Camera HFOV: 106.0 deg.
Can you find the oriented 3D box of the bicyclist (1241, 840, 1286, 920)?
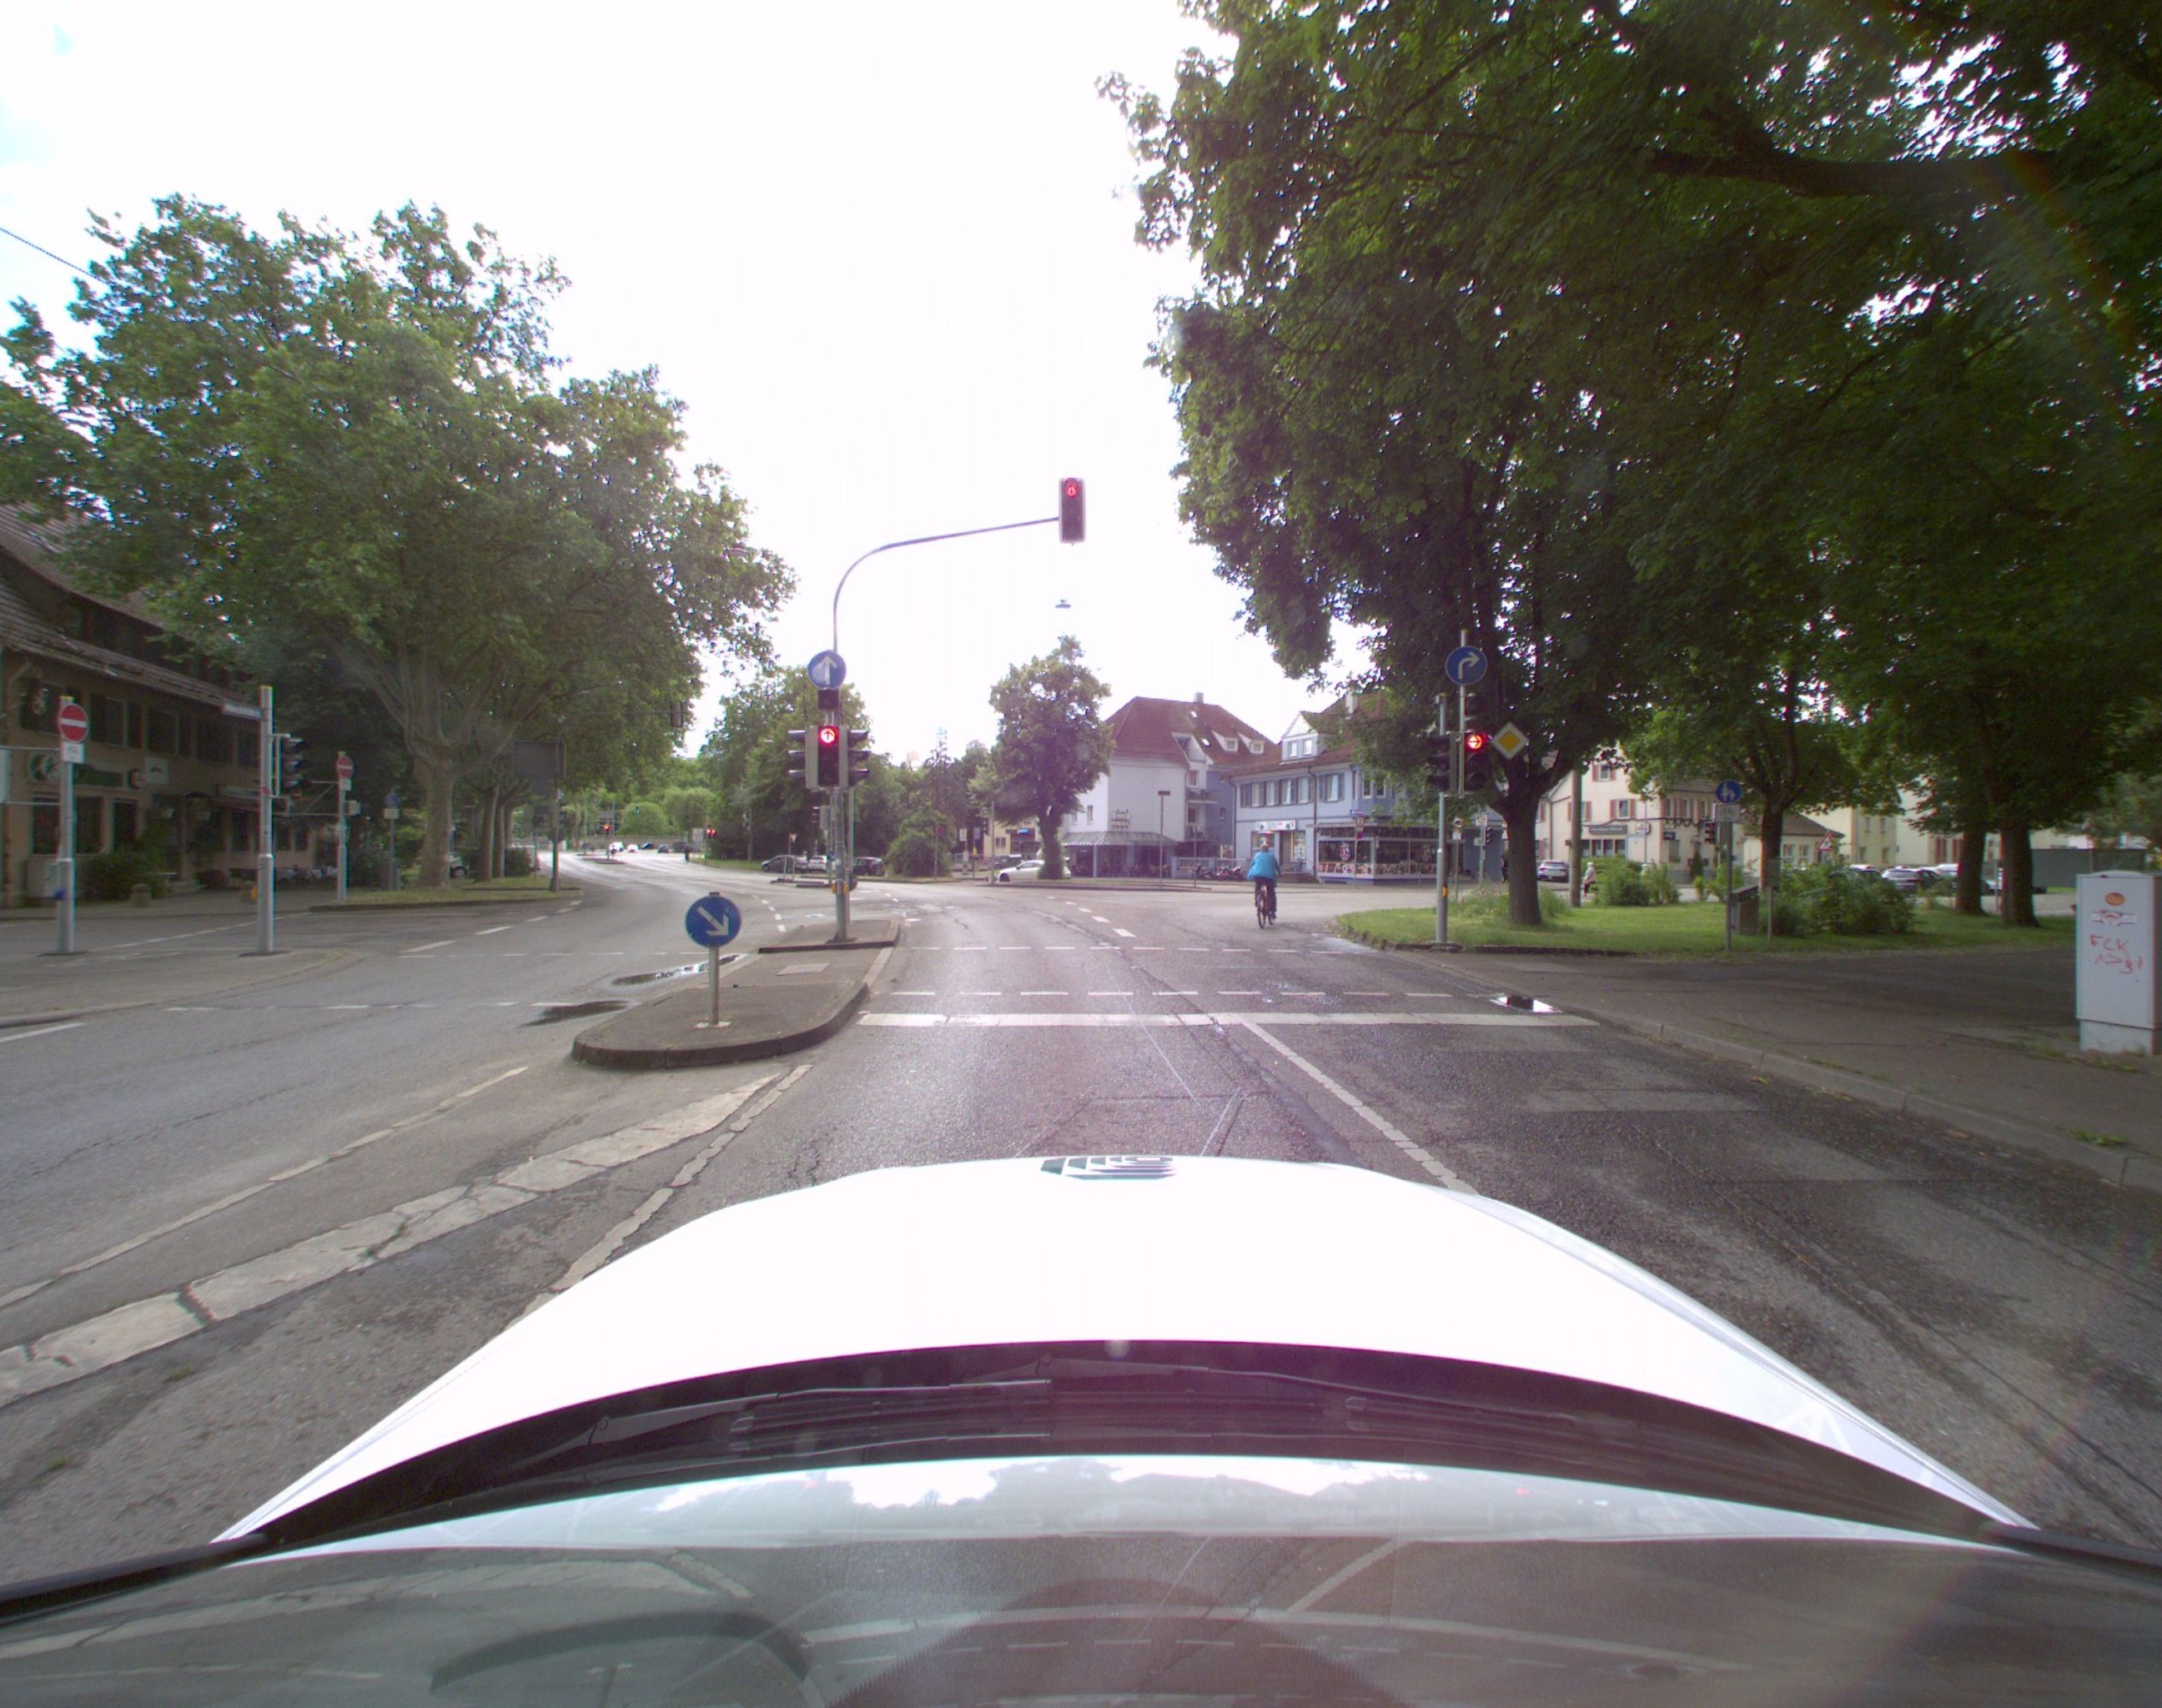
[{"bbox_3d":[3.938,0.538,17.514,0.908,1.651,0.992,0,0,15],"label":"bicyclist"}]

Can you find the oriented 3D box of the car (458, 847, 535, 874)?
[{"bbox_3d":[-37.686,0.431,52.630,4.017,1.684,1.978,0,0,-35],"label":"car"}]

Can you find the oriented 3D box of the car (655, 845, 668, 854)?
[{"bbox_3d":[-79.391,-0.770,154.067,2.007,1.596,3.960,0,-1,-31],"label":"car"}]

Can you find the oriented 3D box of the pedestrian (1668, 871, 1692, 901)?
[{"bbox_3d":[21.840,1.164,29.701,0.505,1.081,0.514,0,-1,-14],"label":"pedestrian"}]

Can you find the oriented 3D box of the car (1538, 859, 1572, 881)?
[{"bbox_3d":[31.255,1.012,53.733,1.867,1.391,3.637,0,0,30],"label":"car"}]

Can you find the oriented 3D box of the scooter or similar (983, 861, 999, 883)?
[{"bbox_3d":[-4.977,0.973,45.089,0.439,1.175,1.442,0,0,10],"label":"scooter or similar"}]

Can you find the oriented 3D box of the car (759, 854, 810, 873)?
[{"bbox_3d":[-24.131,0.757,66.295,3.743,1.465,1.629,0,0,19],"label":"car"}]

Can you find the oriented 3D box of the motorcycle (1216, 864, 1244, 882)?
[{"bbox_3d":[9.277,1.160,50.830,1.609,1.088,0.631,-1,0,32],"label":"motorcycle"}]

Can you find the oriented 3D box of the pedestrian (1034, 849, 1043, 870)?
[{"bbox_3d":[-3.246,0.408,61.640,0.539,1.560,0.469,-1,-1,14],"label":"pedestrian"}]

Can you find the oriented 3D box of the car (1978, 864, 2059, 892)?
[{"bbox_3d":[51.617,1.307,44.858,3.733,1.457,1.640,0,0,-19],"label":"car"}]

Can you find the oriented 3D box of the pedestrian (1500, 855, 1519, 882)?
[{"bbox_3d":[25.534,0.864,48.562,0.671,1.560,0.743,0,-1,-14],"label":"pedestrian"}]

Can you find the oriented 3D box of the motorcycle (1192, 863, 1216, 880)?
[{"bbox_3d":[7.941,1.141,52.600,1.441,1.088,0.527,-1,-1,36],"label":"motorcycle"}]

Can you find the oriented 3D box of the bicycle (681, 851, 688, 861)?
[{"bbox_3d":[-40.635,0.226,83.503,0.559,0.958,2.013,0,0,-30],"label":"bicycle"}]

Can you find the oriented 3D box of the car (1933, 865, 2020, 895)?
[{"bbox_3d":[46.165,1.308,41.990,3.733,1.457,1.640,0,0,-19],"label":"car"}]

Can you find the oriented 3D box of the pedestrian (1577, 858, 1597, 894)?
[{"bbox_3d":[22.382,0.964,36.055,0.724,1.560,0.773,-1,-1,31],"label":"pedestrian"}]

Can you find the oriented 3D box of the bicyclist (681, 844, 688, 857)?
[{"bbox_3d":[-40.673,-0.362,83.542,0.543,1.342,0.707,0,0,-31],"label":"bicyclist"}]

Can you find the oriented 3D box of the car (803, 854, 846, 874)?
[{"bbox_3d":[-21.745,0.810,69.243,1.848,1.640,3.766,0,0,12],"label":"car"}]

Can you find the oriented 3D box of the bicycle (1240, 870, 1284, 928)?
[{"bbox_3d":[3.938,0.941,17.605,0.867,1.149,1.960,0,0,14],"label":"bicycle"}]

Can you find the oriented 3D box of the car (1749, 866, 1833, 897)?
[{"bbox_3d":[31.214,1.193,35.830,3.009,1.267,1.455,0,0,-18],"label":"car"}]

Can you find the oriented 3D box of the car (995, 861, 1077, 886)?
[{"bbox_3d":[-2.693,1.114,48.230,4.654,1.410,1.914,0,0,36],"label":"car"}]

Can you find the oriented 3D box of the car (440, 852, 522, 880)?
[{"bbox_3d":[-36.795,0.716,50.084,4.017,1.684,1.978,0,0,-35],"label":"car"}]

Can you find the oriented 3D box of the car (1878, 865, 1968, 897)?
[{"bbox_3d":[41.472,1.314,40.114,3.733,1.457,1.640,0,0,-19],"label":"car"}]

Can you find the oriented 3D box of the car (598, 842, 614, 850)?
[{"bbox_3d":[-90.140,-1.474,154.462,3.292,1.486,1.595,-1,-2,42],"label":"car"}]

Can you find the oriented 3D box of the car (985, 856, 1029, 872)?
[{"bbox_3d":[-7.130,0.956,78.104,3.950,1.442,1.741,0,0,-19],"label":"car"}]

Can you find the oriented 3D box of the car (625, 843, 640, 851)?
[{"bbox_3d":[-86.795,-1.391,157.632,2.988,1.417,1.509,-1,-2,42],"label":"car"}]

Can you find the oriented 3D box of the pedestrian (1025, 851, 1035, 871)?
[{"bbox_3d":[-5.270,0.691,83.483,0.838,2.014,1.051,0,0,-14],"label":"pedestrian"}]

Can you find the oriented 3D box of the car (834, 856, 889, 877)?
[{"bbox_3d":[-15.117,0.835,55.998,3.286,1.352,1.791,0,0,27],"label":"car"}]

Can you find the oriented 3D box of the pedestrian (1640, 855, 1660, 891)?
[{"bbox_3d":[25.193,0.837,36.072,0.687,1.560,0.671,-1,-1,31],"label":"pedestrian"}]

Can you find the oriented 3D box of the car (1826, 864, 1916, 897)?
[{"bbox_3d":[37.067,1.237,38.227,3.472,1.457,1.640,0,0,-18],"label":"car"}]

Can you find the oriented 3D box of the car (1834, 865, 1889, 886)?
[{"bbox_3d":[55.030,1.495,57.424,3.872,1.447,1.752,0,-1,-30],"label":"car"}]
